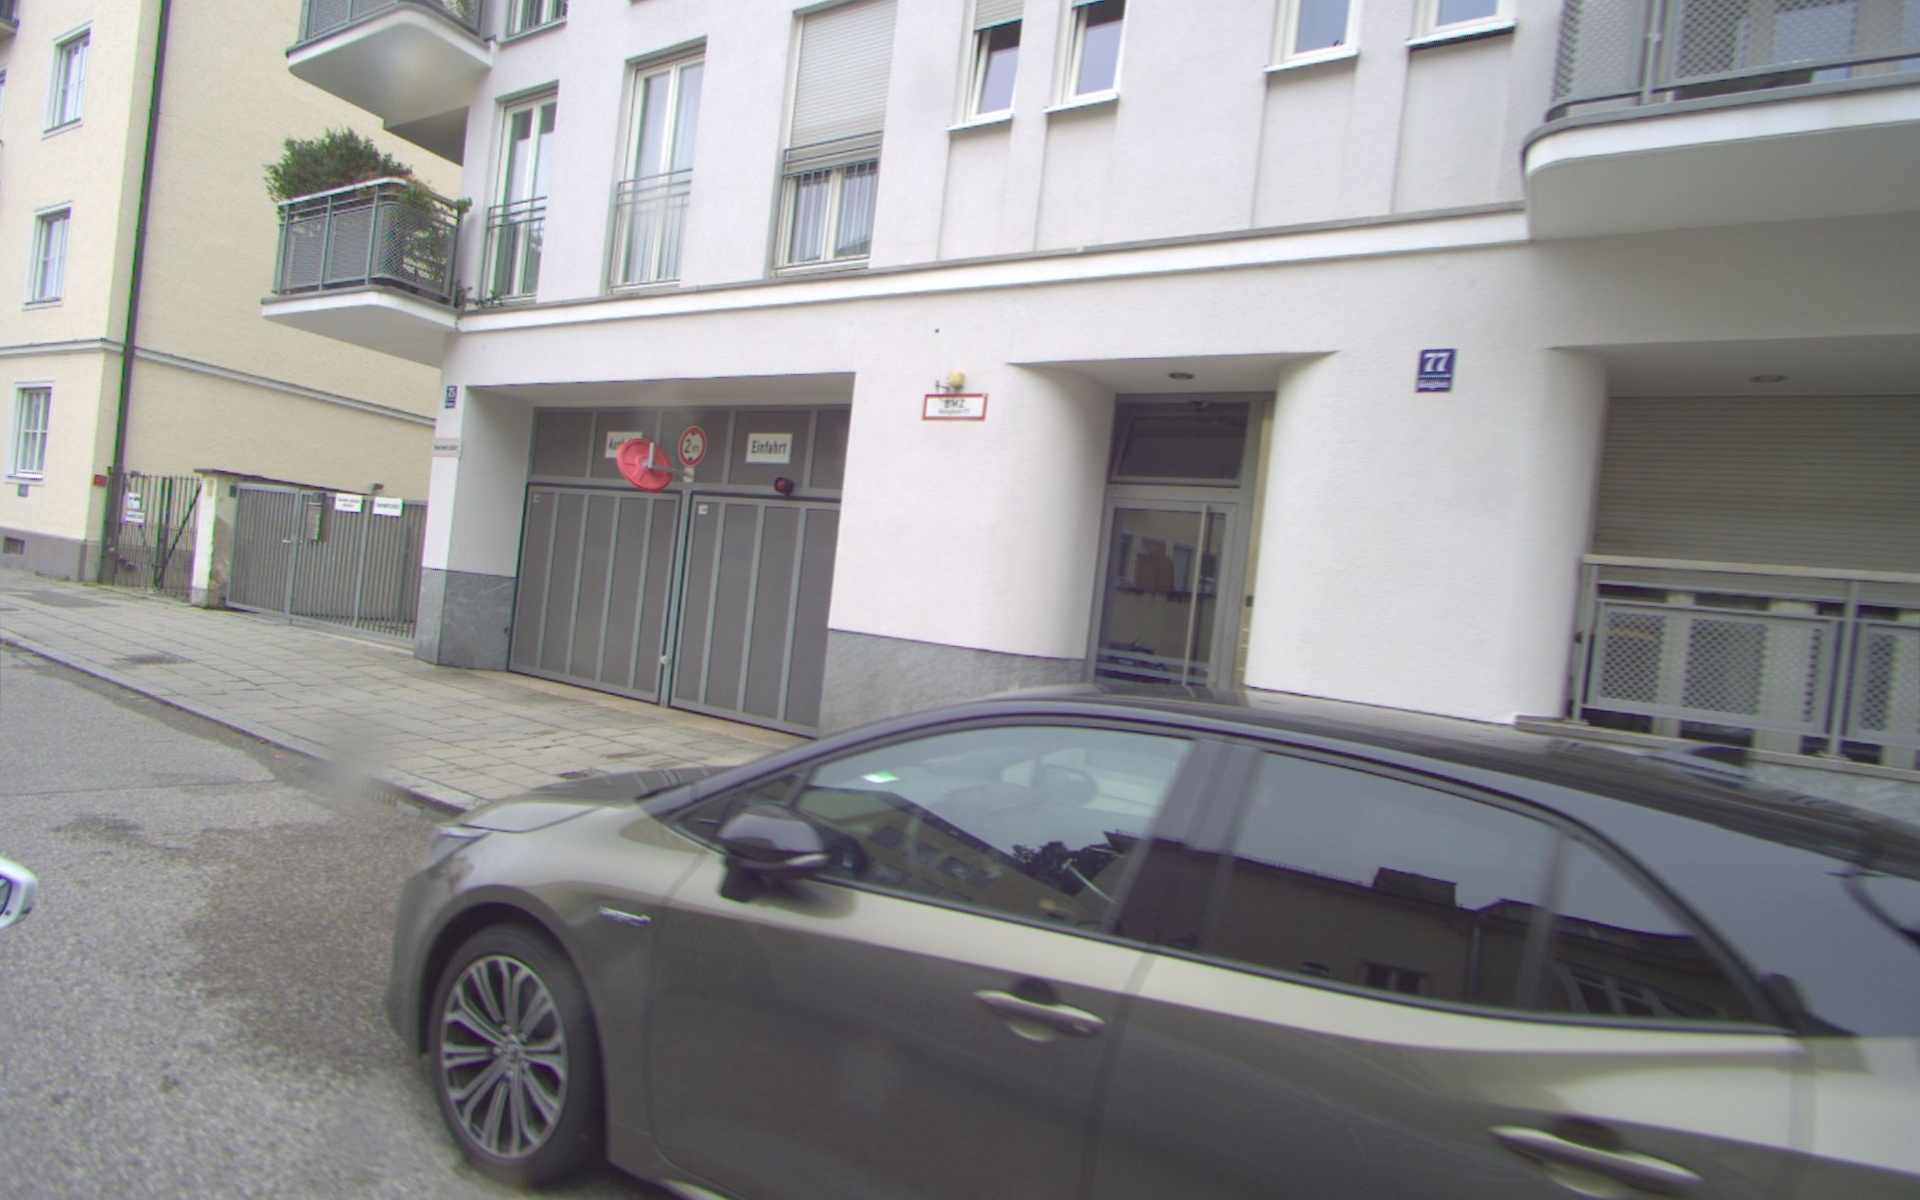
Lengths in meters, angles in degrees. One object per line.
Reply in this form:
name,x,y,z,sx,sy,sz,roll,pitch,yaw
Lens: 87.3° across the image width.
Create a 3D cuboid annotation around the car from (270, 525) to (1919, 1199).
car,0.318,0.815,2.661,4.145,1.494,1.775,7,0,29
